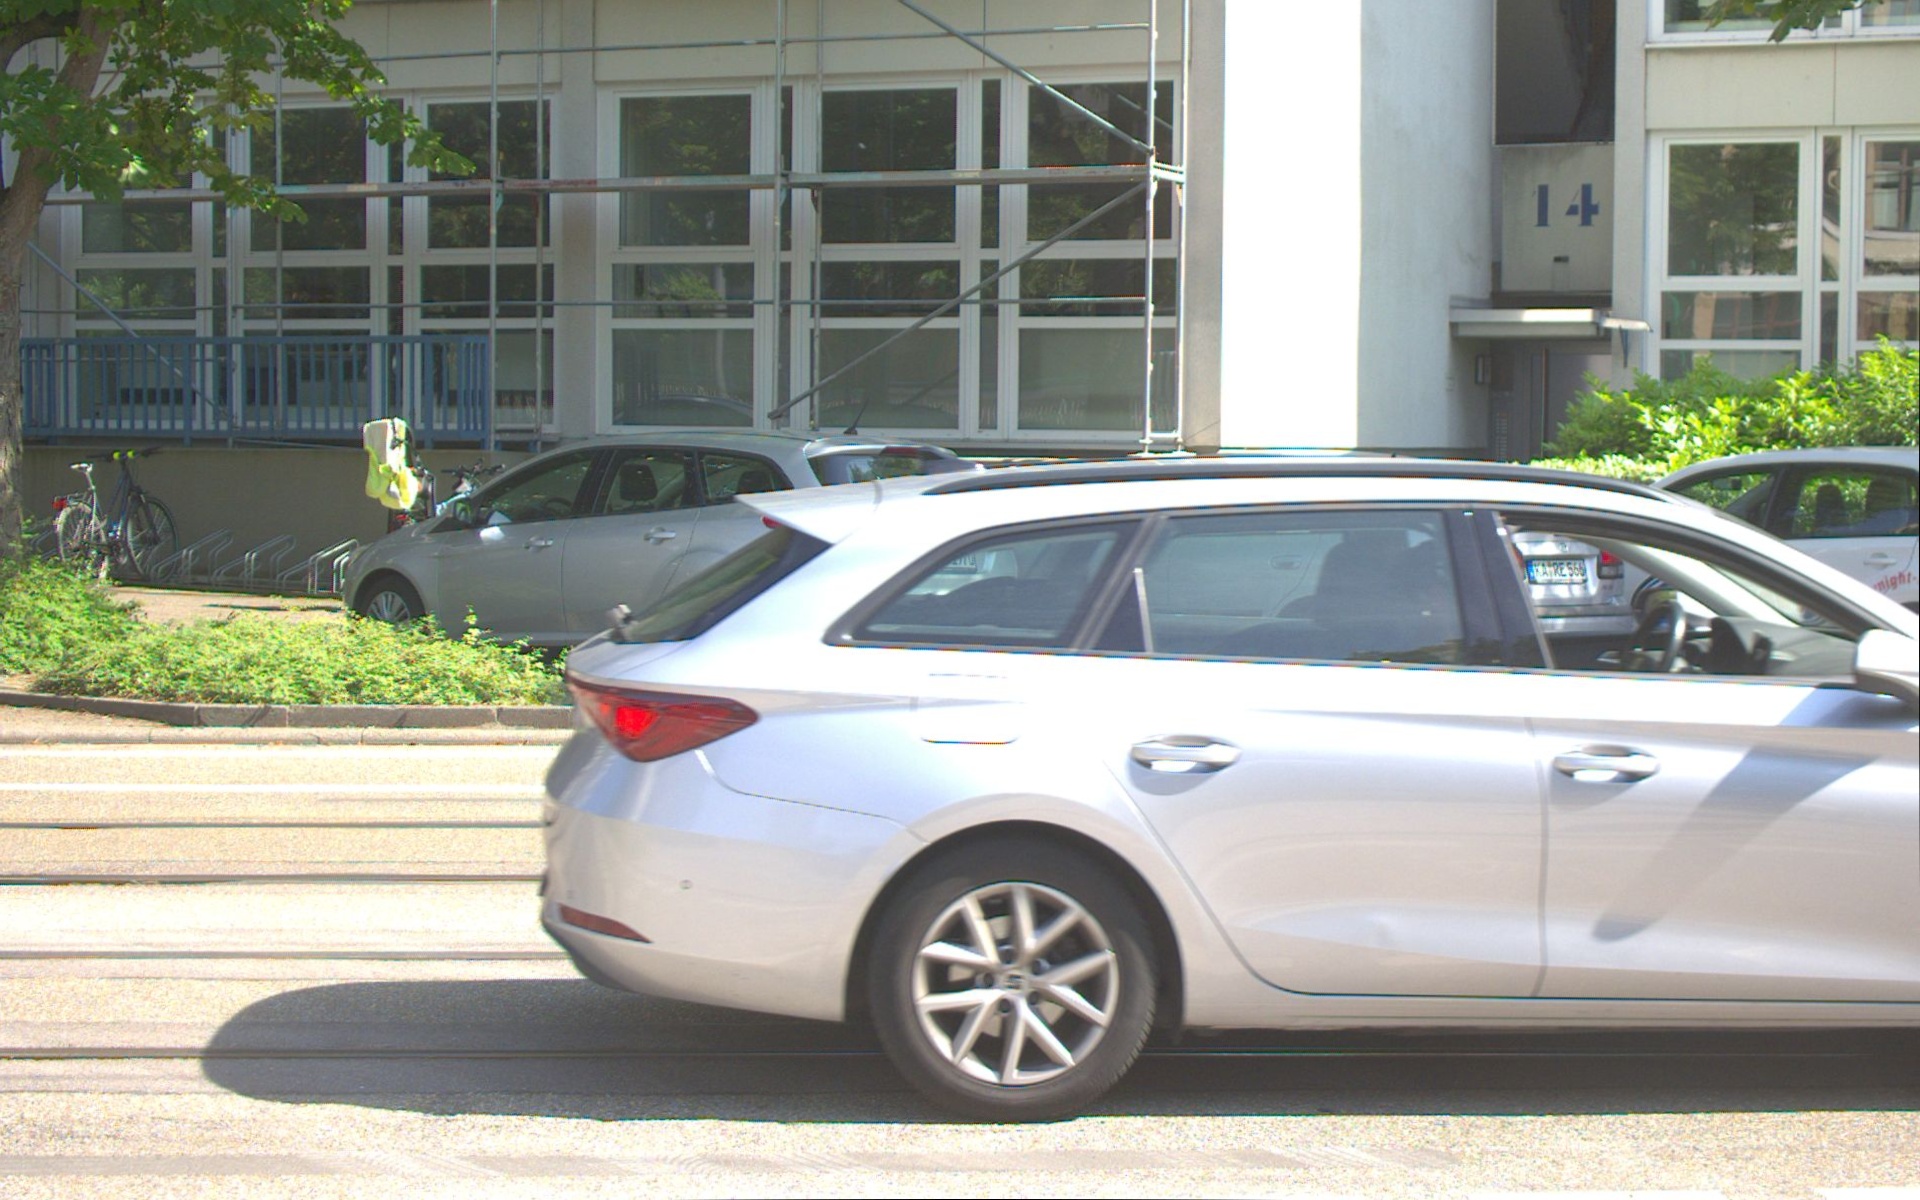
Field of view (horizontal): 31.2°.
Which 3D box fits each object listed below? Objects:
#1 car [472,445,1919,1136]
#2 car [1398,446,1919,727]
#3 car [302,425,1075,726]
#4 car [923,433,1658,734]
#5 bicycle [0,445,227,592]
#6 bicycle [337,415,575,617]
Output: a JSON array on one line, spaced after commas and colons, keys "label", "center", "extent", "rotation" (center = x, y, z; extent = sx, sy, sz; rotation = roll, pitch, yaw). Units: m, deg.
[{"label": "car", "center": [1.204, 0.375, 8.274], "extent": [4.577, 1.403, 1.893], "rotation": [0, 4, -4]}, {"label": "car", "center": [4.594, -0.131, 19.664], "extent": [3.942, 1.481, 1.609], "rotation": [2, 3, 43]}, {"label": "car", "center": [-1.629, -0.223, 19.426], "extent": [4.432, 1.481, 1.780], "rotation": [3, 4, 42]}, {"label": "car", "center": [1.766, -0.170, 19.280], "extent": [3.943, 1.481, 1.609], "rotation": [3, 4, 44]}, {"label": "bicycle", "center": [-6.543, -0.655, 26.682], "extent": [0.741, 1.082, 2.202], "rotation": [1, 3, 15]}, {"label": "bicycle", "center": [-3.769, -0.652, 25.884], "extent": [0.662, 1.448, 2.087], "rotation": [2, 3, 28]}]
